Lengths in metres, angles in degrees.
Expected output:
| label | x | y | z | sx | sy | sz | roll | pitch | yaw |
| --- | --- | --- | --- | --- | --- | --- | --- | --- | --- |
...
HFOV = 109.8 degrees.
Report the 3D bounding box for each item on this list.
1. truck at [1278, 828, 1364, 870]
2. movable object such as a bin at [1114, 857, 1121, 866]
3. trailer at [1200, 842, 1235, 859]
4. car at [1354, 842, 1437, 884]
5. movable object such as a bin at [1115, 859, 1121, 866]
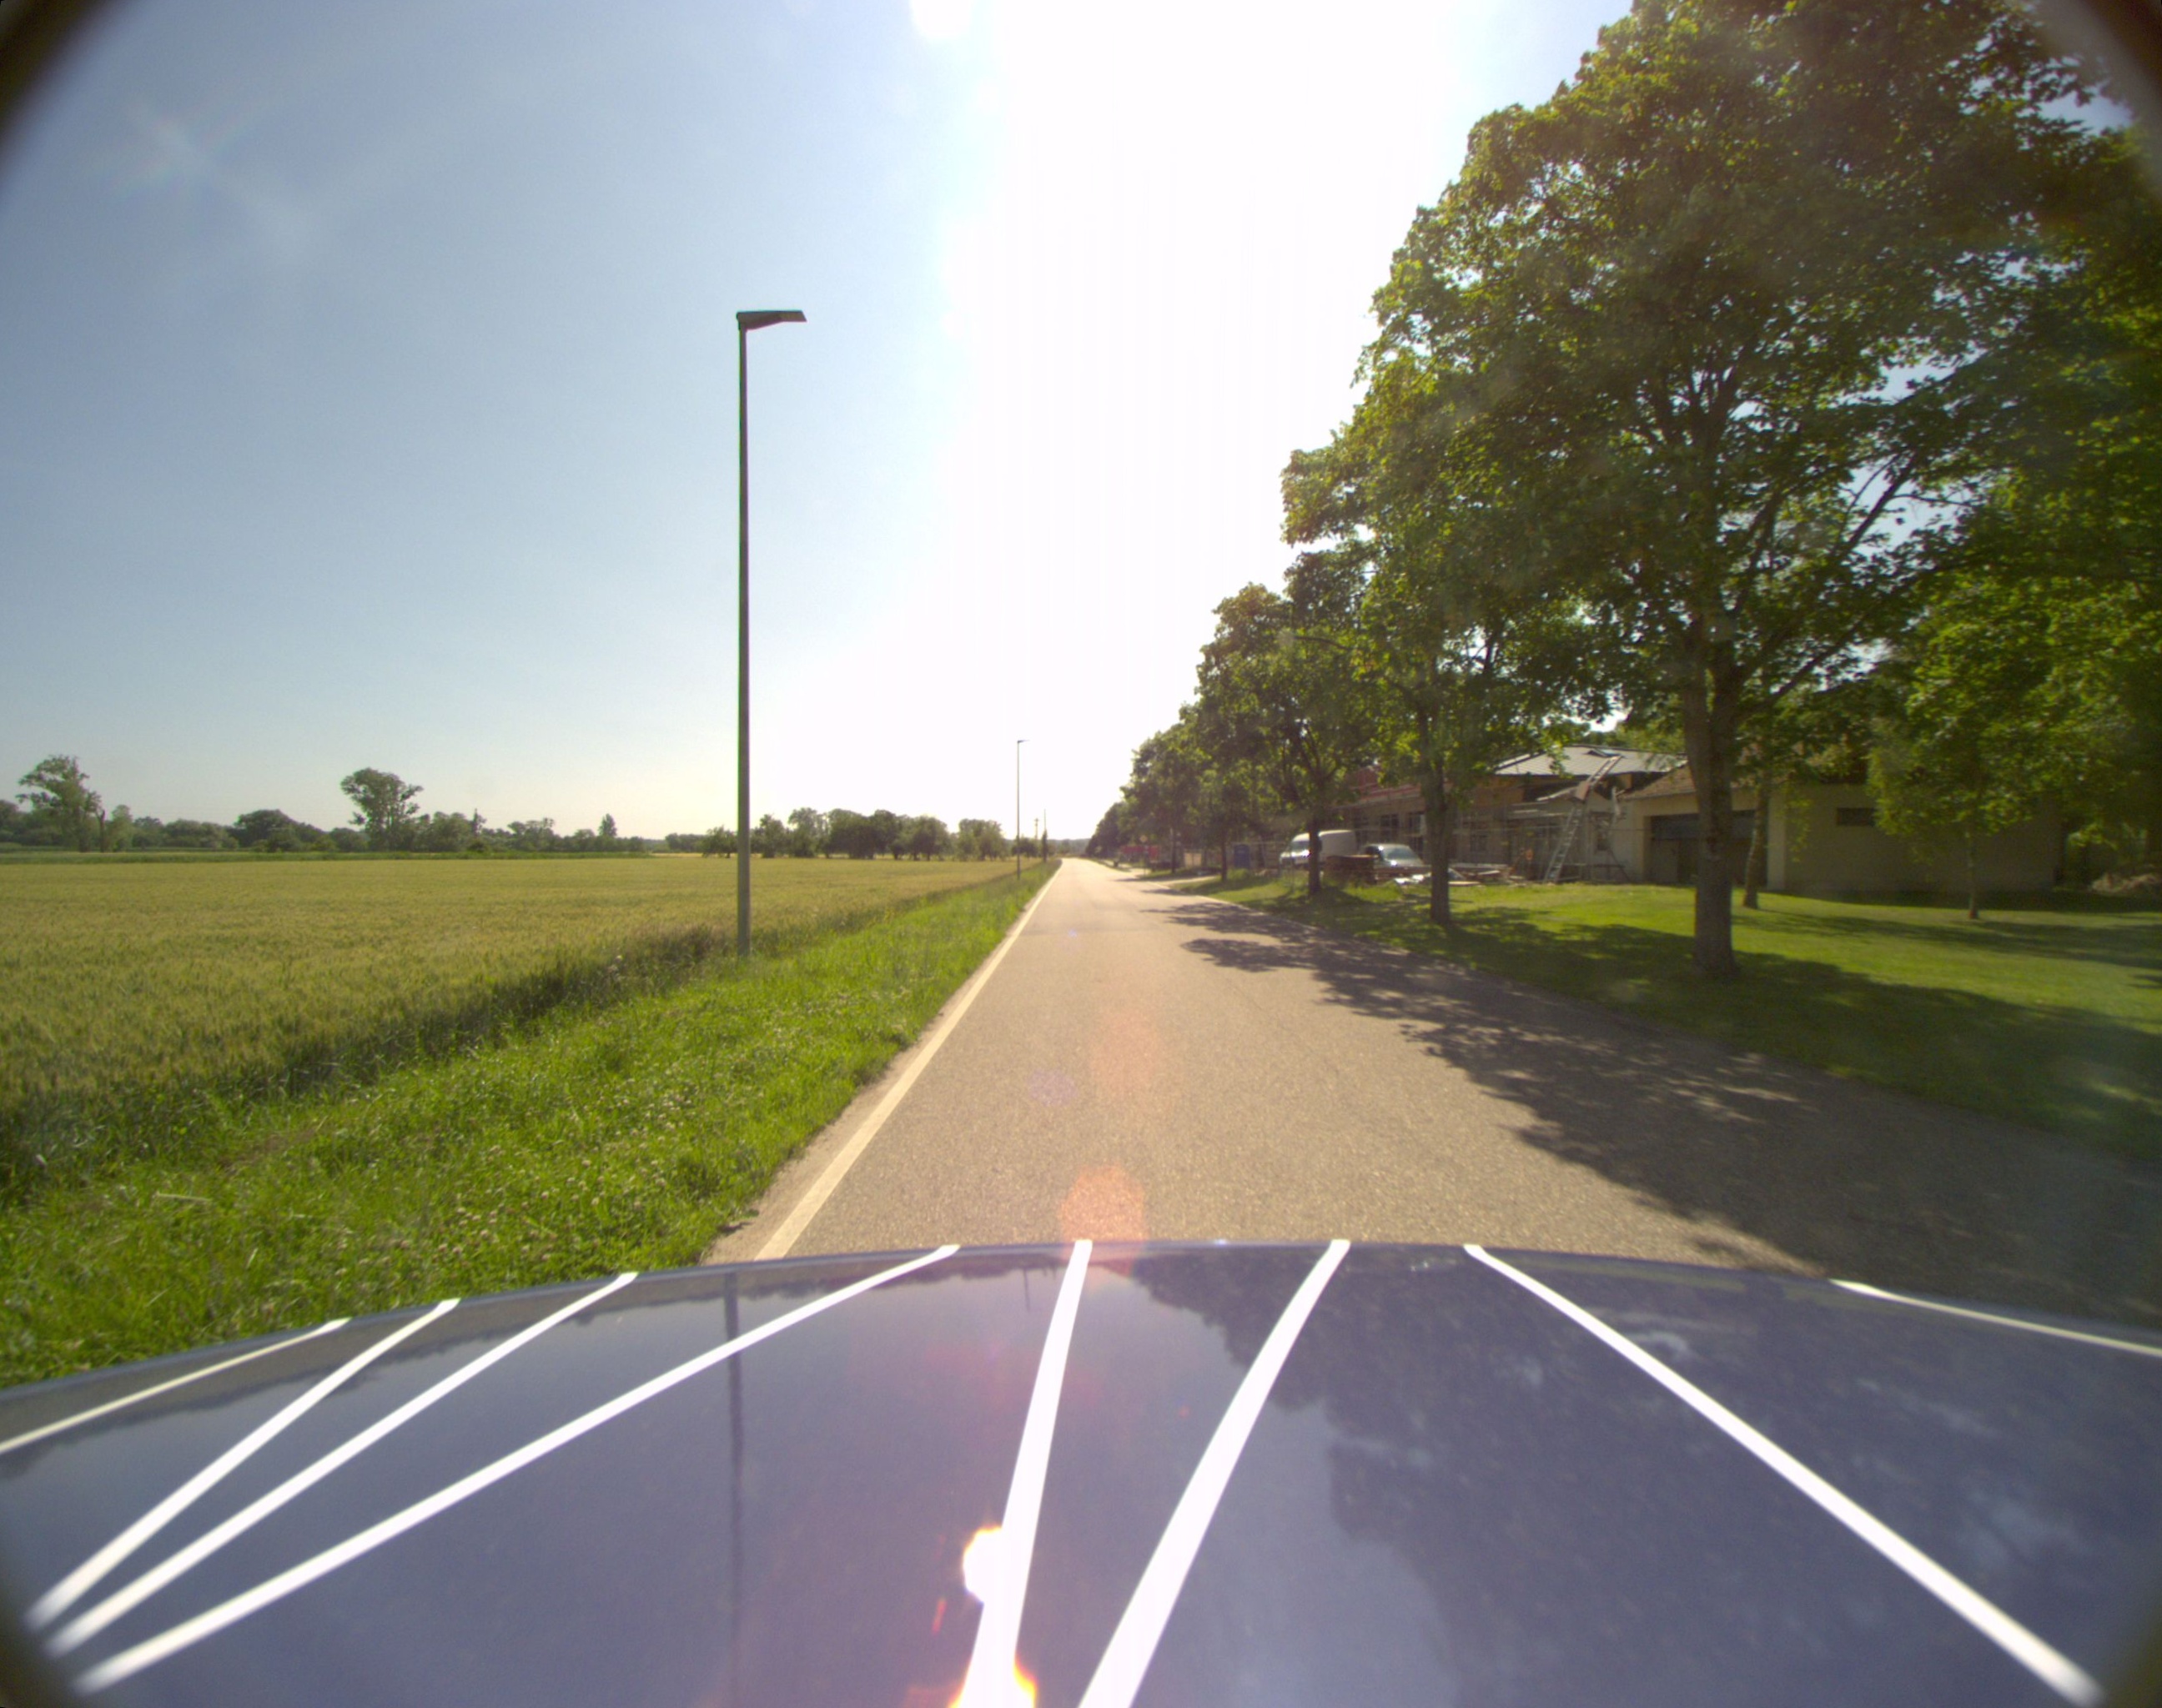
| label | x | y | z | sx | sy | sz | roll | pitch | yaw |
| --- | --- | --- | --- | --- | --- | --- | --- | --- | --- |
| truck | 14.746 | -0.325 | 46.548 | 5.943 | 2.469 | 1.994 | -1 | 1 | -37 |
| movable object such as a bin | 4.254 | 0.880 | 87.790 | 0.700 | 1.018 | 0.748 | 1 | 1 | 7 |
| trailer | 18.661 | -0.445 | 103.978 | 4.239 | 2.264 | 1.826 | 1 | 1 | -14 |
| car | 14.452 | 0.375 | 35.158 | 1.975 | 1.827 | 4.327 | -1 | 0 | -1 |
| movable object such as a bin | 4.222 | 0.962 | 87.107 | 0.563 | 0.872 | 0.614 | 1 | 1 | 7 |
